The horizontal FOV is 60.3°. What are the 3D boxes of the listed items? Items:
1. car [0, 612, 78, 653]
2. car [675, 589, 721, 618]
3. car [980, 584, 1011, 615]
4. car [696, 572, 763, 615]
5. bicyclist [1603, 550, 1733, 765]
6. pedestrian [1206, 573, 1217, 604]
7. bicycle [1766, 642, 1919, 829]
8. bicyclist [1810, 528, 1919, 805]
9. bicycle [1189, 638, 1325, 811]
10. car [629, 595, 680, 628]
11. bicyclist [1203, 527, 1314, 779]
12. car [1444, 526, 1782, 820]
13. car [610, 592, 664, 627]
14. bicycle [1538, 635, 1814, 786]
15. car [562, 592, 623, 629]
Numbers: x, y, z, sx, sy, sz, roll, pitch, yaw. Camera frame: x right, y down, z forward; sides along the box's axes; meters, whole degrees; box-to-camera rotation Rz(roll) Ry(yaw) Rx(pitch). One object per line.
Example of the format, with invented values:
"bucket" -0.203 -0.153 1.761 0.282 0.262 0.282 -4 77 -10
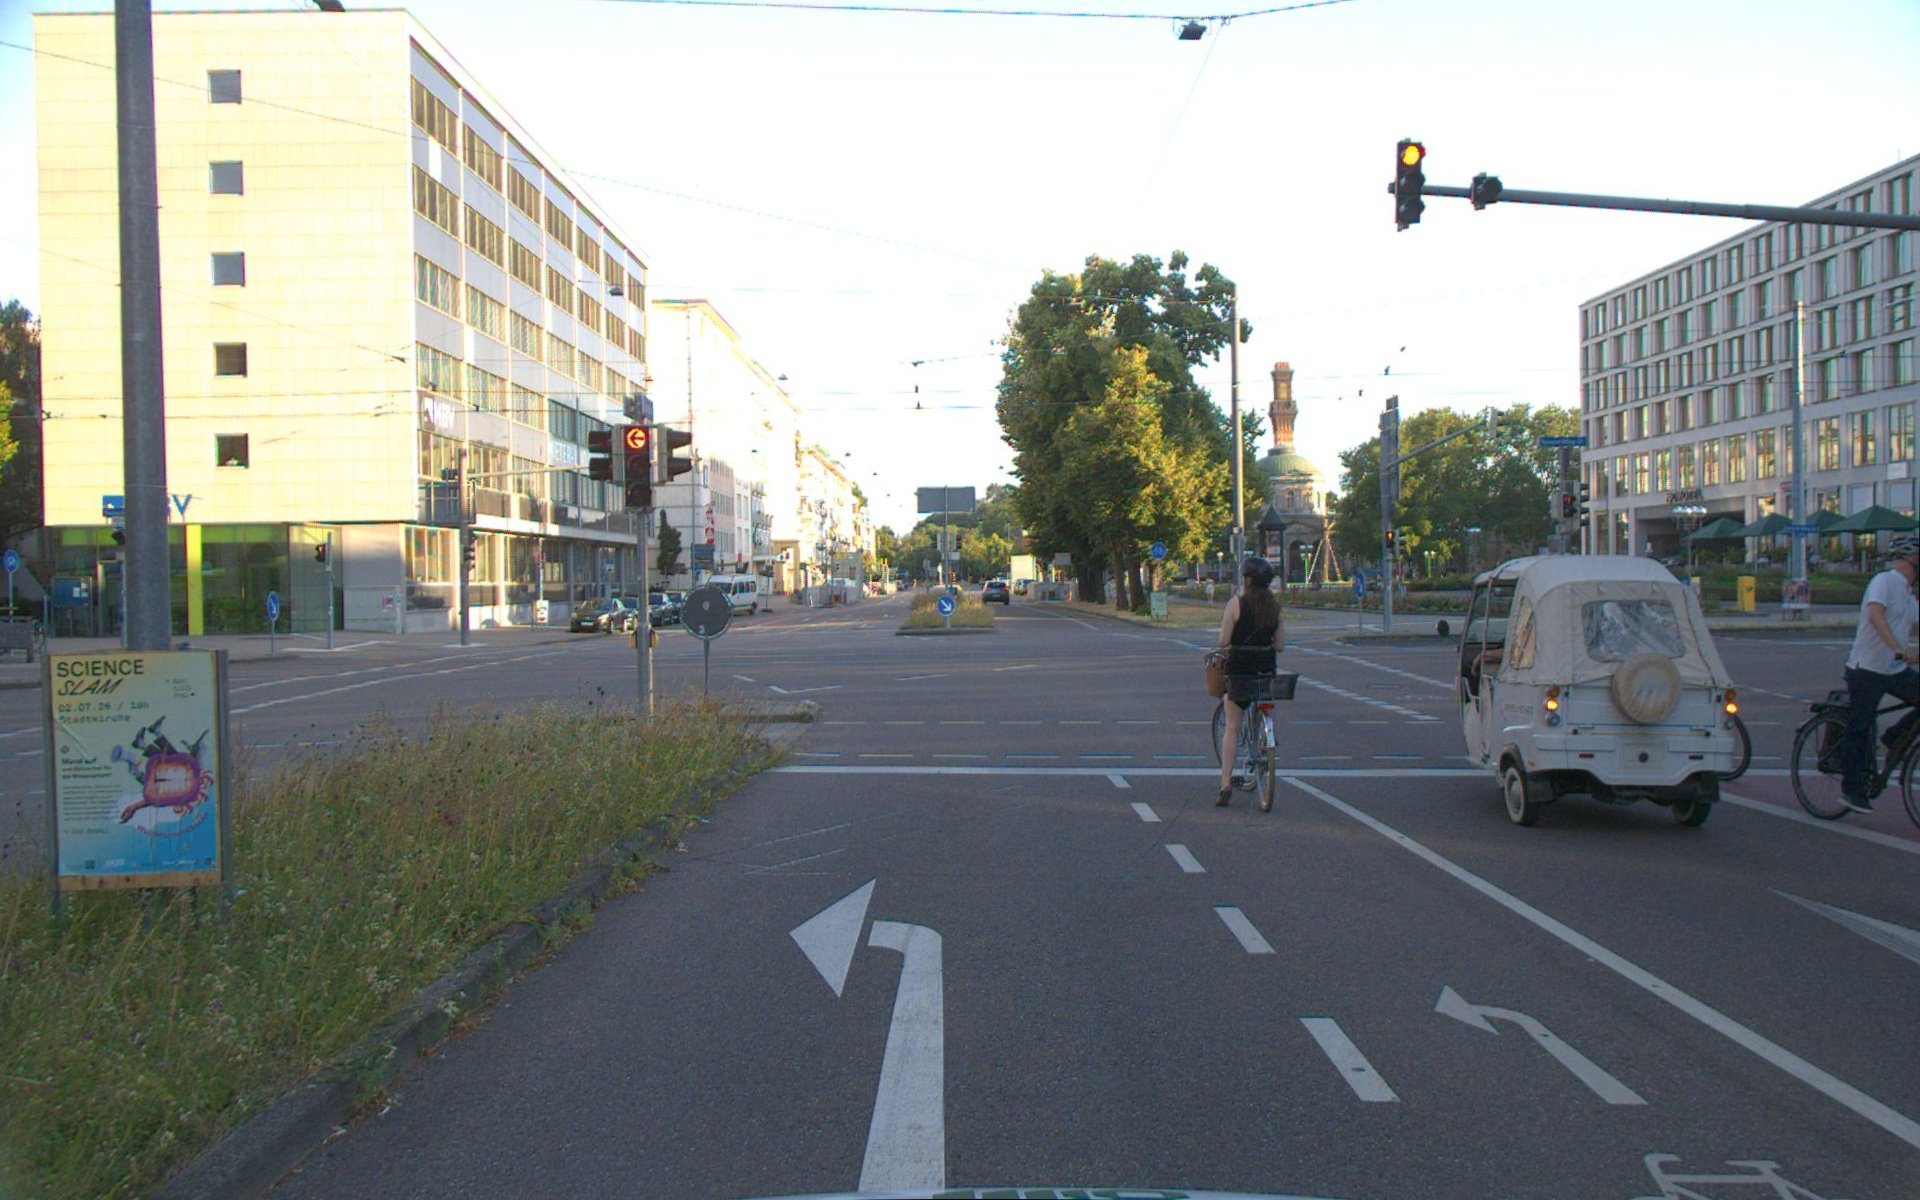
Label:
"car" -26.619 0.915 47.863 0.836 1.092 2.521 -1 1 -1
"car" -14.873 0.236 94.165 1.758 1.501 4.001 -1 -2 3
"car" 2.380 -0.066 112.742 1.953 2.049 3.999 -1 1 -1
"car" -14.006 -0.356 100.762 2.130 2.427 5.994 -2 -2 11
"bicyclist" 5.878 0.458 13.735 0.709 1.722 0.738 -1 0 -40
"pedestrian" 13.929 -0.640 91.750 0.498 1.697 0.531 -1 0 -1
"bicycle" 6.140 0.853 10.682 0.715 1.087 1.899 1 1 -9
"bicyclist" 6.117 0.409 10.732 0.748 1.722 0.747 -1 0 -9
"bicycle" 2.127 0.856 12.078 0.624 1.087 2.069 0 1 0
"car" -15.017 0.593 81.496 1.759 1.501 3.999 -1 -2 -1
"bicyclist" 2.111 0.361 11.760 0.615 1.722 0.748 -1 0 -1
"car" 4.409 0.416 11.507 1.429 1.811 2.565 0 2 2
"car" -15.078 0.458 77.394 1.759 1.501 3.999 -1 -2 -1
"bicycle" 5.903 0.872 13.742 0.724 1.087 1.992 0 1 -40
"car" -15.760 0.424 71.127 1.759 1.501 4.000 -1 1 -1
